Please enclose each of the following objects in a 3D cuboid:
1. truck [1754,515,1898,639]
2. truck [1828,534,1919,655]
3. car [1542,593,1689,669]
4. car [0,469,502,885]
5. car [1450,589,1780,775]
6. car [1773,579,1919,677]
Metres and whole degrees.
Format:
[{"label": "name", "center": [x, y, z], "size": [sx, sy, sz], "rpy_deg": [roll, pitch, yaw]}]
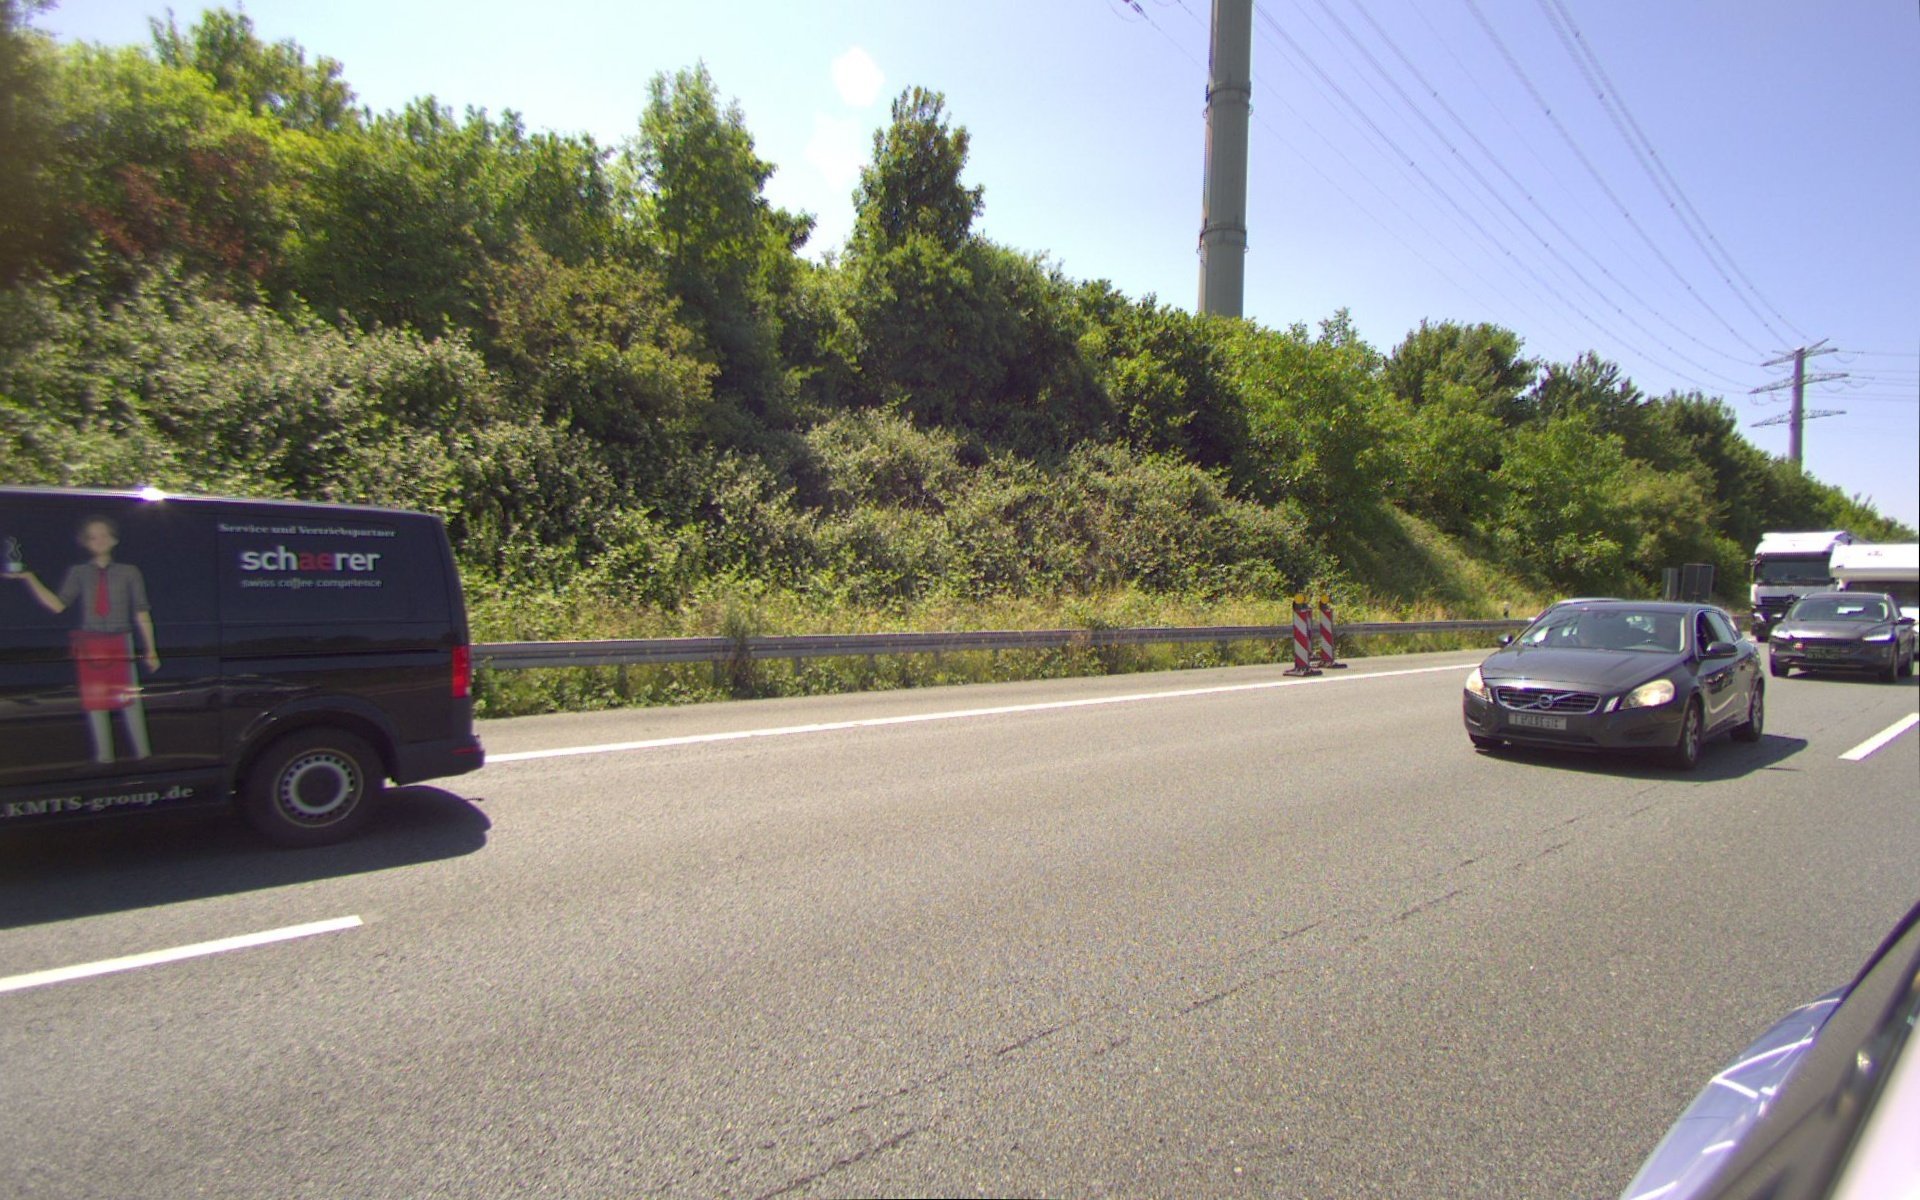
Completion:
[{"label": "truck", "center": [33.851, -0.809, 39.332], "size": [11.459, 4.204, 2.653], "rpy_deg": [0, 0, -41]}, {"label": "truck", "center": [27.491, -0.152, 29.014], "size": [9.723, 3.053, 2.512], "rpy_deg": [0, 0, -41]}, {"label": "car", "center": [13.944, 0.584, 21.467], "size": [3.668, 1.455, 1.798], "rpy_deg": [0, 0, -43]}, {"label": "car", "center": [-5.102, 0.356, 5.303], "size": [4.618, 1.928, 1.786], "rpy_deg": [0, 0, -42]}, {"label": "car", "center": [6.620, 0.632, 10.035], "size": [4.159, 1.455, 1.798], "rpy_deg": [0, 0, -43]}, {"label": "car", "center": [17.600, 0.482, 19.920], "size": [4.309, 1.724, 1.889], "rpy_deg": [0, 0, -43]}]
